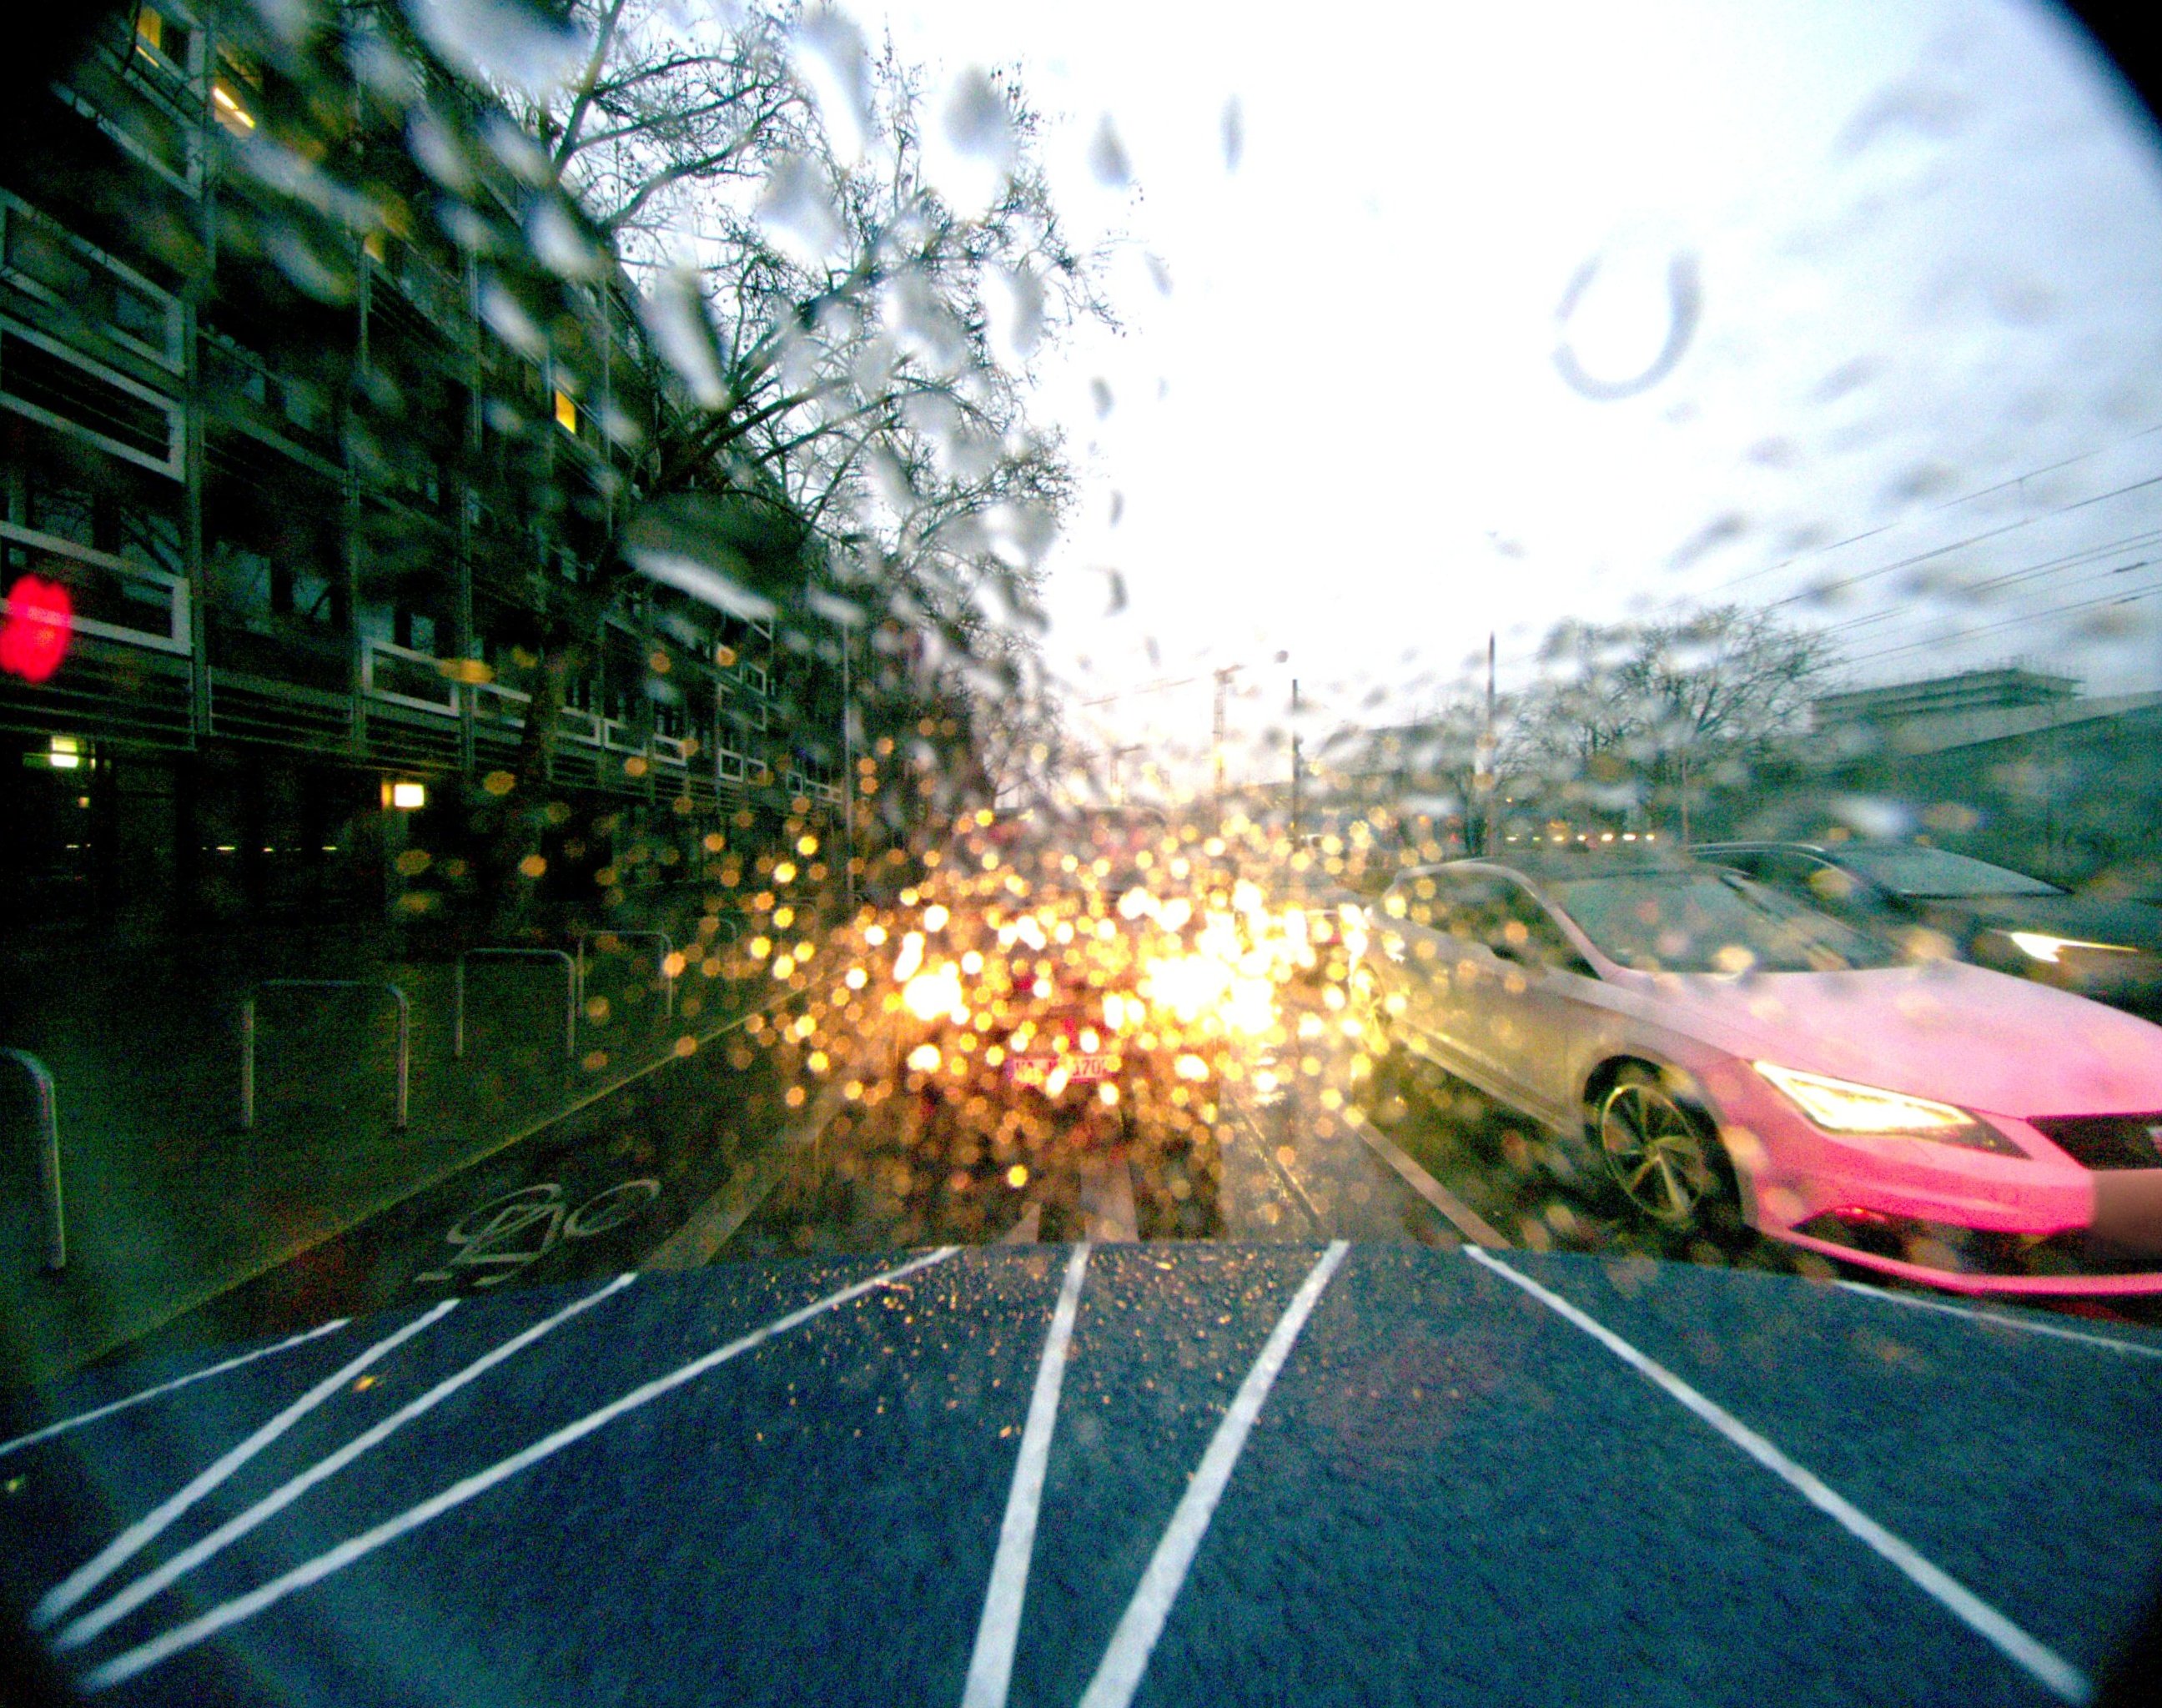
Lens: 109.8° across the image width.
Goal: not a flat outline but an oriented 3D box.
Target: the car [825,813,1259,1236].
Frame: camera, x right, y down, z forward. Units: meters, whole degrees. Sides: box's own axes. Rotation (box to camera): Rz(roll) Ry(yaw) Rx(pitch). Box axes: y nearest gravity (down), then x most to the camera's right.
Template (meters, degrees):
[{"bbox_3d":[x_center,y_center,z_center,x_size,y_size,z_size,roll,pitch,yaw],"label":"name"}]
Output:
[{"bbox_3d":[-0.200,0.744,5.414,1.878,1.830,3.999,-2,1,-1],"label":"car"}]

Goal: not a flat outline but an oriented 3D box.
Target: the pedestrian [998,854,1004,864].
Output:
[{"bbox_3d":[-10.968,0.670,104.079,0.719,1.330,0.791,-2,1,1],"label":"pedestrian"}]

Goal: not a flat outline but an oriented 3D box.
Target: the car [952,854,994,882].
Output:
[{"bbox_3d":[-6.101,0.762,43.370,1.713,1.455,3.999,-2,1,1],"label":"car"}]

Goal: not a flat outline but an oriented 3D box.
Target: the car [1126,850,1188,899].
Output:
[{"bbox_3d":[2.727,0.688,28.074,1.907,1.565,3.999,-2,1,1],"label":"car"}]

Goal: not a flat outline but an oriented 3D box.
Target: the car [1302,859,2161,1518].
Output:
[{"bbox_3d":[2.983,0.835,4.158,1.949,1.478,4.504,-2,0,-4],"label":"car"}]

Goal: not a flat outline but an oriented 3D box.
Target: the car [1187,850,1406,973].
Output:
[{"bbox_3d":[2.971,0.696,11.601,1.999,1.478,4.505,-1,0,-1],"label":"car"}]

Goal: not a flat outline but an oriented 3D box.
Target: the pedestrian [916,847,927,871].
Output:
[{"bbox_3d":[-13.369,0.438,63.791,0.699,1.968,0.928,0,1,1],"label":"pedestrian"}]

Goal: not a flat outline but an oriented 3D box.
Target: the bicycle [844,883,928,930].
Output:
[{"bbox_3d":[-4.486,1.208,17.610,1.704,0.987,0.879,1,1,0],"label":"bicycle"}]

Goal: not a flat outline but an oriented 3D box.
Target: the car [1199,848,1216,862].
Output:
[{"bbox_3d":[19.355,0.128,116.601,1.998,2.002,3.999,-2,1,1],"label":"car"}]

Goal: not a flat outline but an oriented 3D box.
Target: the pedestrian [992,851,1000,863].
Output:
[{"bbox_3d":[-10.092,0.328,90.577,0.782,1.330,0.751,-2,1,1],"label":"pedestrian"}]

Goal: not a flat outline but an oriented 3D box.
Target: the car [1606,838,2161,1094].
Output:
[{"bbox_3d":[7.312,0.634,6.869,1.853,1.499,4.662,-1,1,-1],"label":"car"}]

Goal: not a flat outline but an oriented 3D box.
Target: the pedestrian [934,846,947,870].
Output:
[{"bbox_3d":[-12.830,0.352,69.579,1.062,2.182,1.110,-2,1,-11],"label":"pedestrian"}]

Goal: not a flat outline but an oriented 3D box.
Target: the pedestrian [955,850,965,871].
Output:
[{"bbox_3d":[-10.419,0.551,65.657,0.766,1.740,0.928,0,1,-4],"label":"pedestrian"}]

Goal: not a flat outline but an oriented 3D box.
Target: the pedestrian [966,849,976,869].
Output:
[{"bbox_3d":[-9.492,0.443,65.458,0.766,1.740,0.928,0,1,-4],"label":"pedestrian"}]

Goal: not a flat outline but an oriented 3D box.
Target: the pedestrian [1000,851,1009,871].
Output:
[{"bbox_3d":[-6.913,0.603,68.402,0.766,1.740,0.928,0,1,-4],"label":"pedestrian"}]

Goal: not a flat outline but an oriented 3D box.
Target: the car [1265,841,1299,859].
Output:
[{"bbox_3d":[21.260,-0.409,80.577,2.095,1.884,3.997,-1,1,-7],"label":"car"}]

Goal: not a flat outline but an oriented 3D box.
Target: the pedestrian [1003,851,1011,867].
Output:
[{"bbox_3d":[-8.066,0.576,82.717,0.766,1.740,0.928,0,1,-4],"label":"pedestrian"}]

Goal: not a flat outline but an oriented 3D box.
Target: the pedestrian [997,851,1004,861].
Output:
[{"bbox_3d":[-10.788,0.230,101.841,0.719,1.330,0.791,-2,1,1],"label":"pedestrian"}]
